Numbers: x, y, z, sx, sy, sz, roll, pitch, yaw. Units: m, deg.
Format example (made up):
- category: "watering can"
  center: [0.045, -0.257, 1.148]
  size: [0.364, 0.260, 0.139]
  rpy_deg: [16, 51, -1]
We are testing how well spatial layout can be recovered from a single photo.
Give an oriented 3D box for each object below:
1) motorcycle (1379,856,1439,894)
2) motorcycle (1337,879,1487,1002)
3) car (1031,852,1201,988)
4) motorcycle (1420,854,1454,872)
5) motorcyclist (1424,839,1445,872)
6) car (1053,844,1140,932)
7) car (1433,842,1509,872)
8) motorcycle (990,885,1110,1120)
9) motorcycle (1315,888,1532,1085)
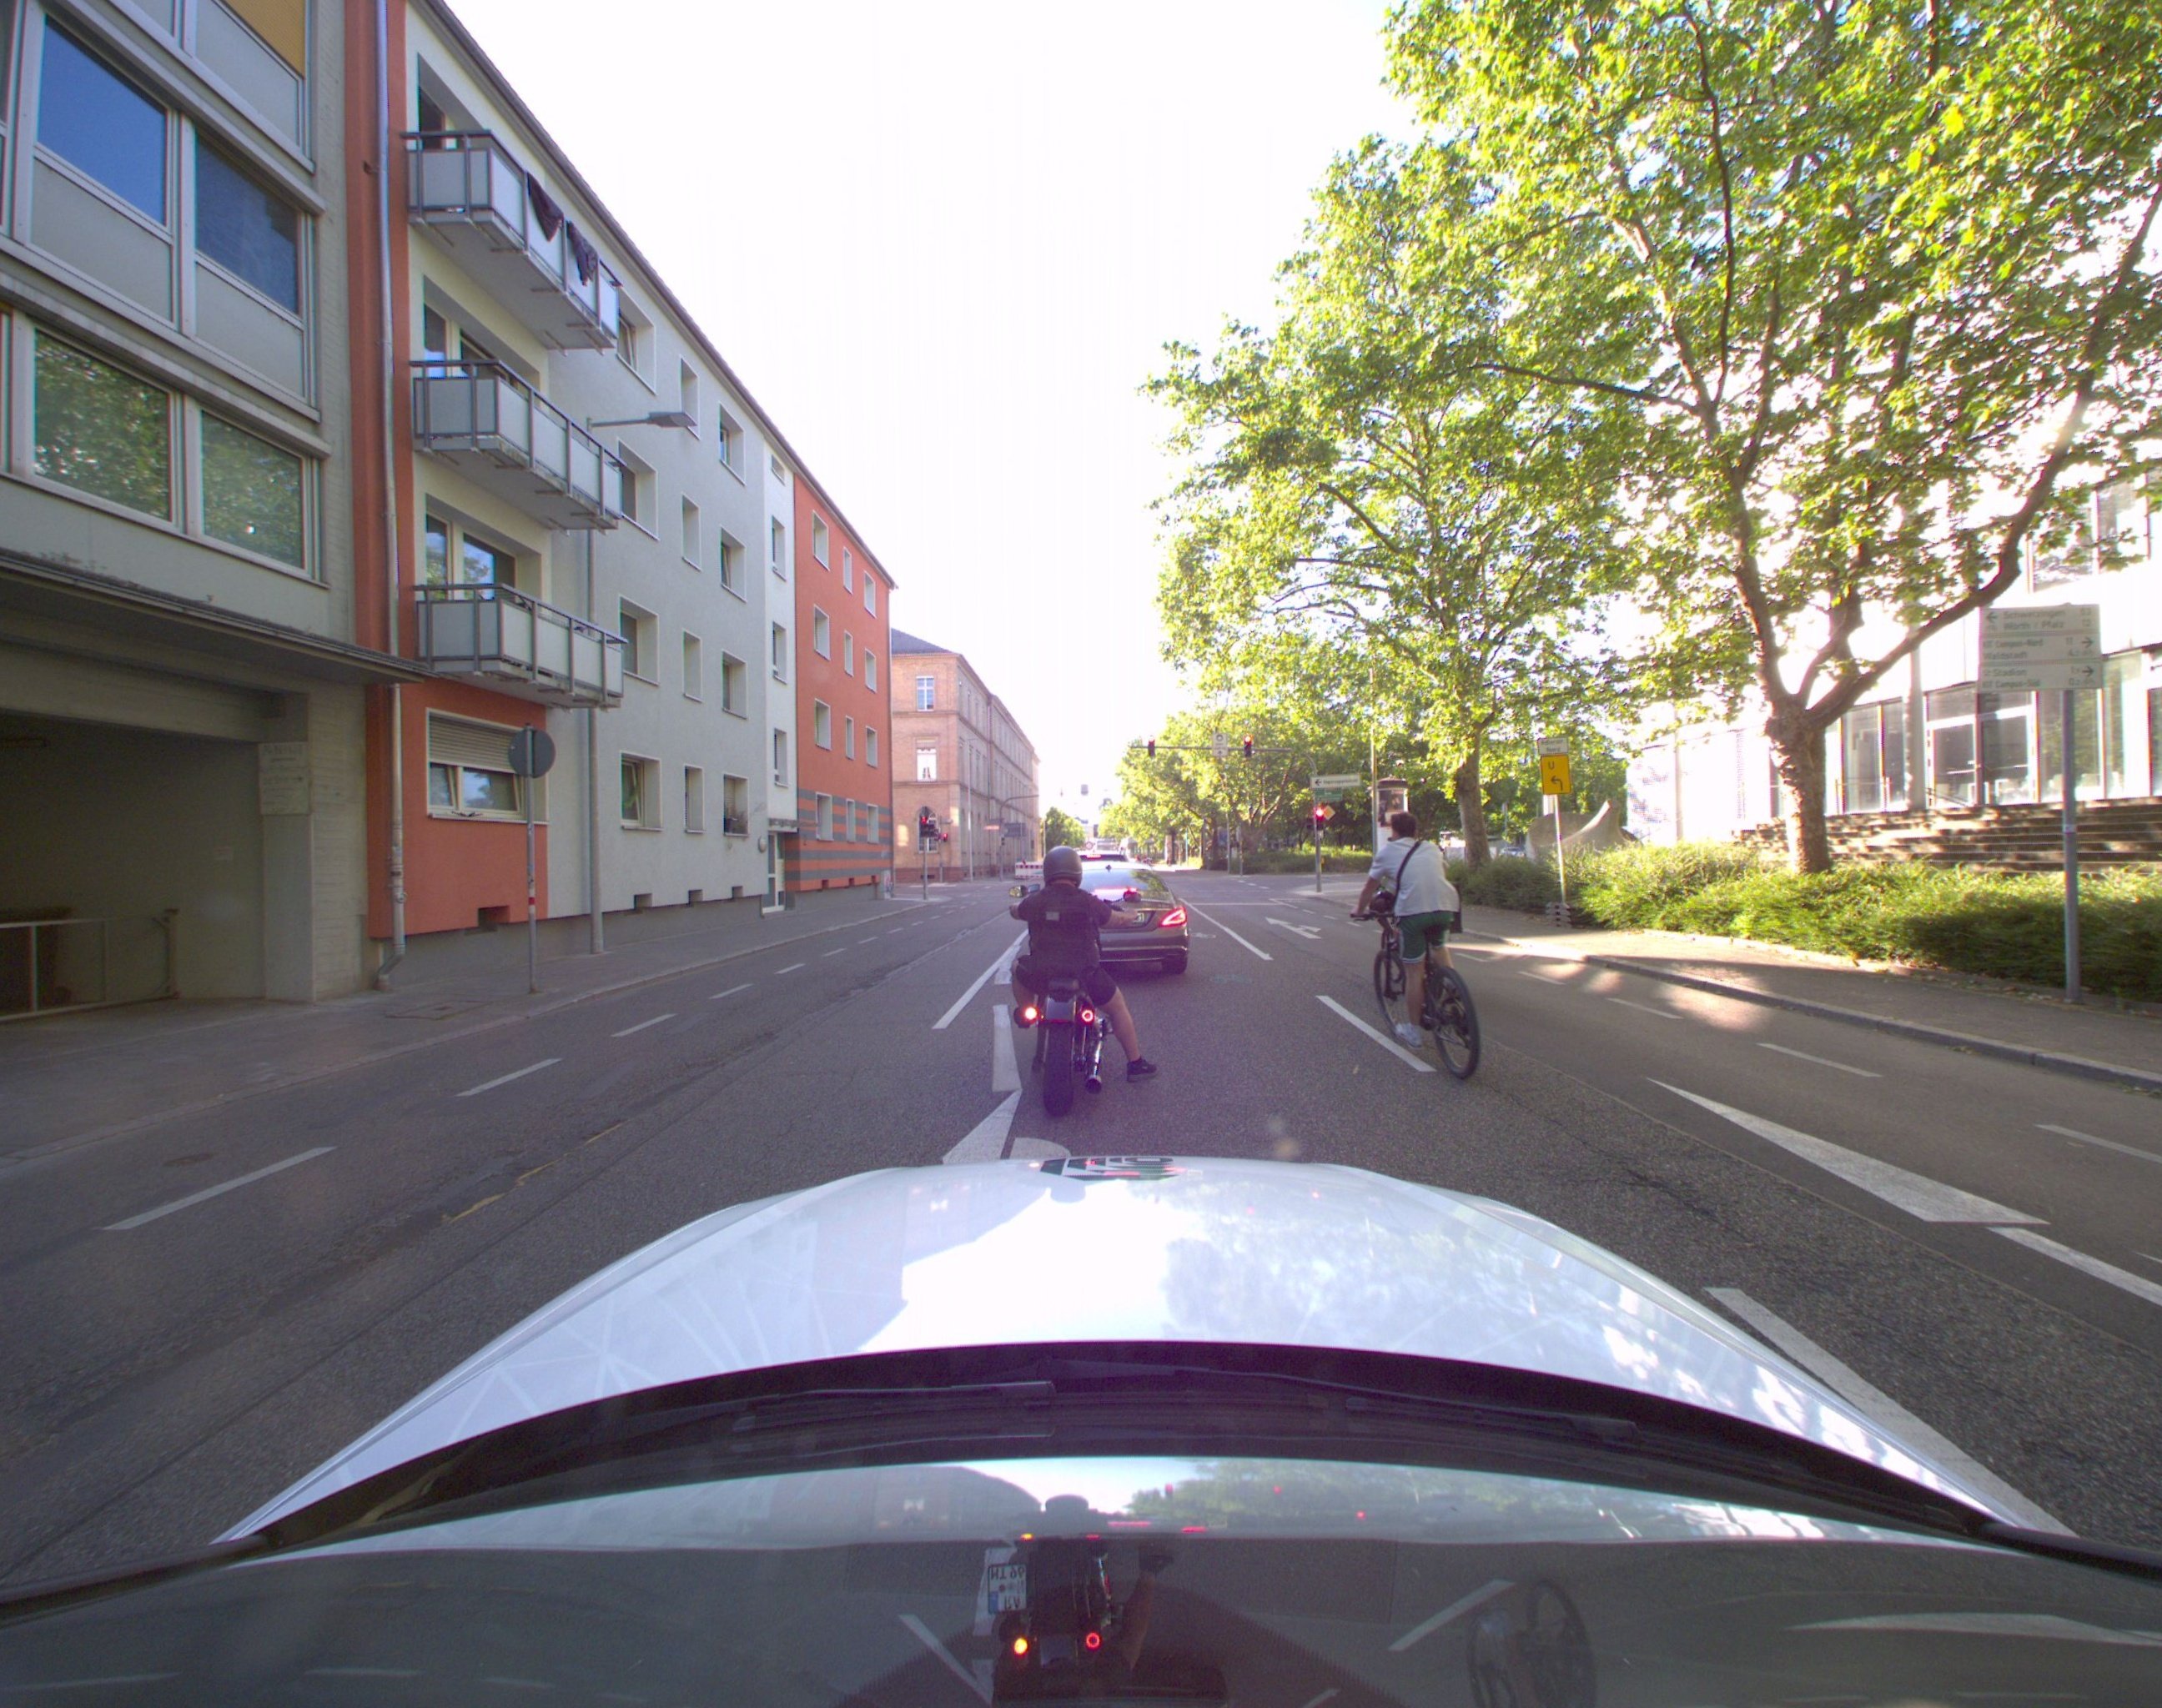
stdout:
- category: "motorcycle"
  center: [11.075, 0.712, 27.545]
  size: [1.771, 1.243, 0.724]
  rpy_deg: [0, -1, 7]
- category: "motorcycle"
  center: [3.537, 0.866, 8.957]
  size: [0.794, 1.131, 2.237]
  rpy_deg: [0, -1, 2]
- category: "car"
  center: [0.265, 0.747, 11.245]
  size: [1.821, 1.486, 4.325]
  rpy_deg: [0, 0, -5]
- category: "motorcycle"
  center: [20.586, 0.530, 47.108]
  size: [1.710, 1.002, 0.416]
  rpy_deg: [-1, 0, 6]
- category: "motorcyclist"
  center: [20.452, 0.093, 47.121]
  size: [0.978, 1.876, 0.377]
  rpy_deg: [-1, -1, 6]
- category: "car"
  center: [0.362, 0.666, 17.400]
  size: [1.645, 1.652, 4.002]
  rpy_deg: [0, -1, 2]
- category: "car"
  center: [24.632, 0.203, 51.525]
  size: [3.974, 1.772, 1.738]
  rpy_deg: [-1, 0, -1]
- category: "motorcycle"
  center: [-0.138, 0.861, 5.542]
  size: [0.657, 1.240, 2.058]
  rpy_deg: [0, -1, 2]
- category: "motorcycle"
  center: [2.439, 0.878, 6.105]
  size: [0.859, 1.168, 1.930]
  rpy_deg: [0, -1, 2]
